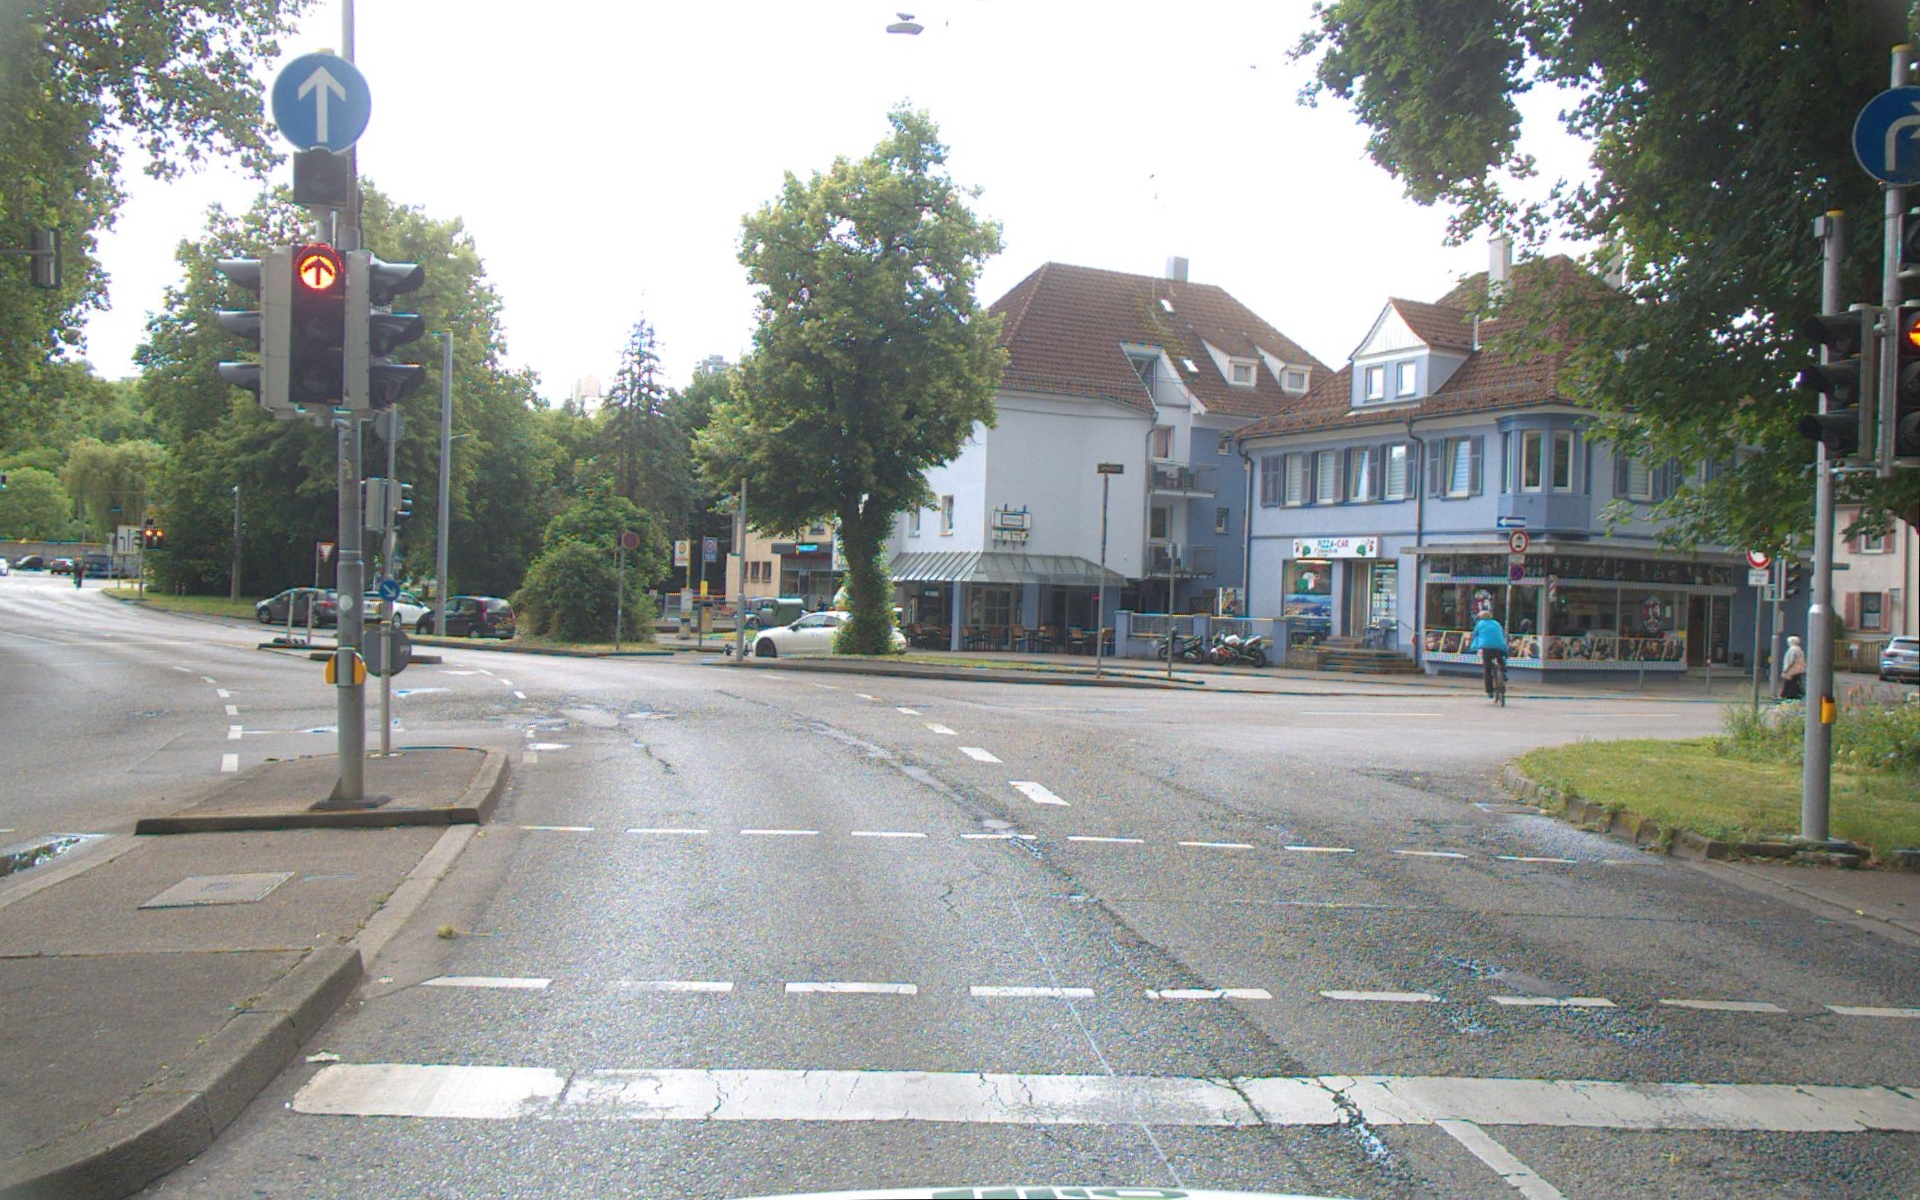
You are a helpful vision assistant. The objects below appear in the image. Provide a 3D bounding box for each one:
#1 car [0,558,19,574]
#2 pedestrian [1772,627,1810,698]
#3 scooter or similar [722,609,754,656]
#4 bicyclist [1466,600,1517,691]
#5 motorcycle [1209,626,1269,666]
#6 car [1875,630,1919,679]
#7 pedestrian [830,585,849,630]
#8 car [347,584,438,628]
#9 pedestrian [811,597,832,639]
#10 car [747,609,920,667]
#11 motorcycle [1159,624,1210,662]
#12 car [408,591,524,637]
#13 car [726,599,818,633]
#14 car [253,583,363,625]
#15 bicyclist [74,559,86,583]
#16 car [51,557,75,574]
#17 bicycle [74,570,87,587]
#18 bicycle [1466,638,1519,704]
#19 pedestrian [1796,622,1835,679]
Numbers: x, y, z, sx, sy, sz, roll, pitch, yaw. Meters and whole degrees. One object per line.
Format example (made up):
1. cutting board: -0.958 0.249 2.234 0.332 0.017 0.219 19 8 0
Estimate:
1. car: -88.813 -3.158 153.724 2.971 1.442 1.491 0 -2 41
2. pedestrian: 18.805 1.404 37.415 0.717 1.587 0.767 0 -1 30
3. scooter or similar: -5.699 0.827 42.514 0.433 1.195 1.439 1 0 8
4. bicyclist: 10.135 0.862 31.534 0.896 1.680 0.989 1 0 18
5. motorcycle: 8.169 1.336 48.466 1.595 1.107 0.625 1 0 32
6. car: 29.700 1.685 51.695 1.849 1.415 3.608 1 0 28
7. pedestrian: -4.300 0.273 59.165 0.531 1.587 0.468 0 -1 13
8. car: -22.730 0.252 66.410 1.821 1.668 3.757 1 0 10
9. pedestrian: -6.750 0.866 80.531 0.823 2.049 1.052 1 0 -15
10. car: -3.530 1.019 45.689 4.618 1.435 1.896 1 0 35
11. motorcycle: 6.816 1.285 50.215 1.430 1.107 0.522 1 0 35
12. car: -15.912 0.443 53.268 3.252 1.376 1.778 1 0 27
13. car: -8.579 0.724 75.485 3.880 1.467 1.742 1 0 -21
14. car: -25.005 0.146 63.427 3.695 1.491 1.622 1 0 18
15. bicyclist: -50.532 -1.686 95.001 0.534 1.365 0.706 1 0 -31
16. car: -94.246 -3.594 173.841 1.974 1.624 3.956 1 -1 -32
17. bicycle: -50.531 -1.245 95.034 0.550 0.975 2.012 1 0 -31
18. bicycle: 10.201 1.336 31.729 0.855 1.169 1.954 1 0 15
19. pedestrian: 24.006 1.406 46.417 0.659 1.587 0.743 1 -1 -15
